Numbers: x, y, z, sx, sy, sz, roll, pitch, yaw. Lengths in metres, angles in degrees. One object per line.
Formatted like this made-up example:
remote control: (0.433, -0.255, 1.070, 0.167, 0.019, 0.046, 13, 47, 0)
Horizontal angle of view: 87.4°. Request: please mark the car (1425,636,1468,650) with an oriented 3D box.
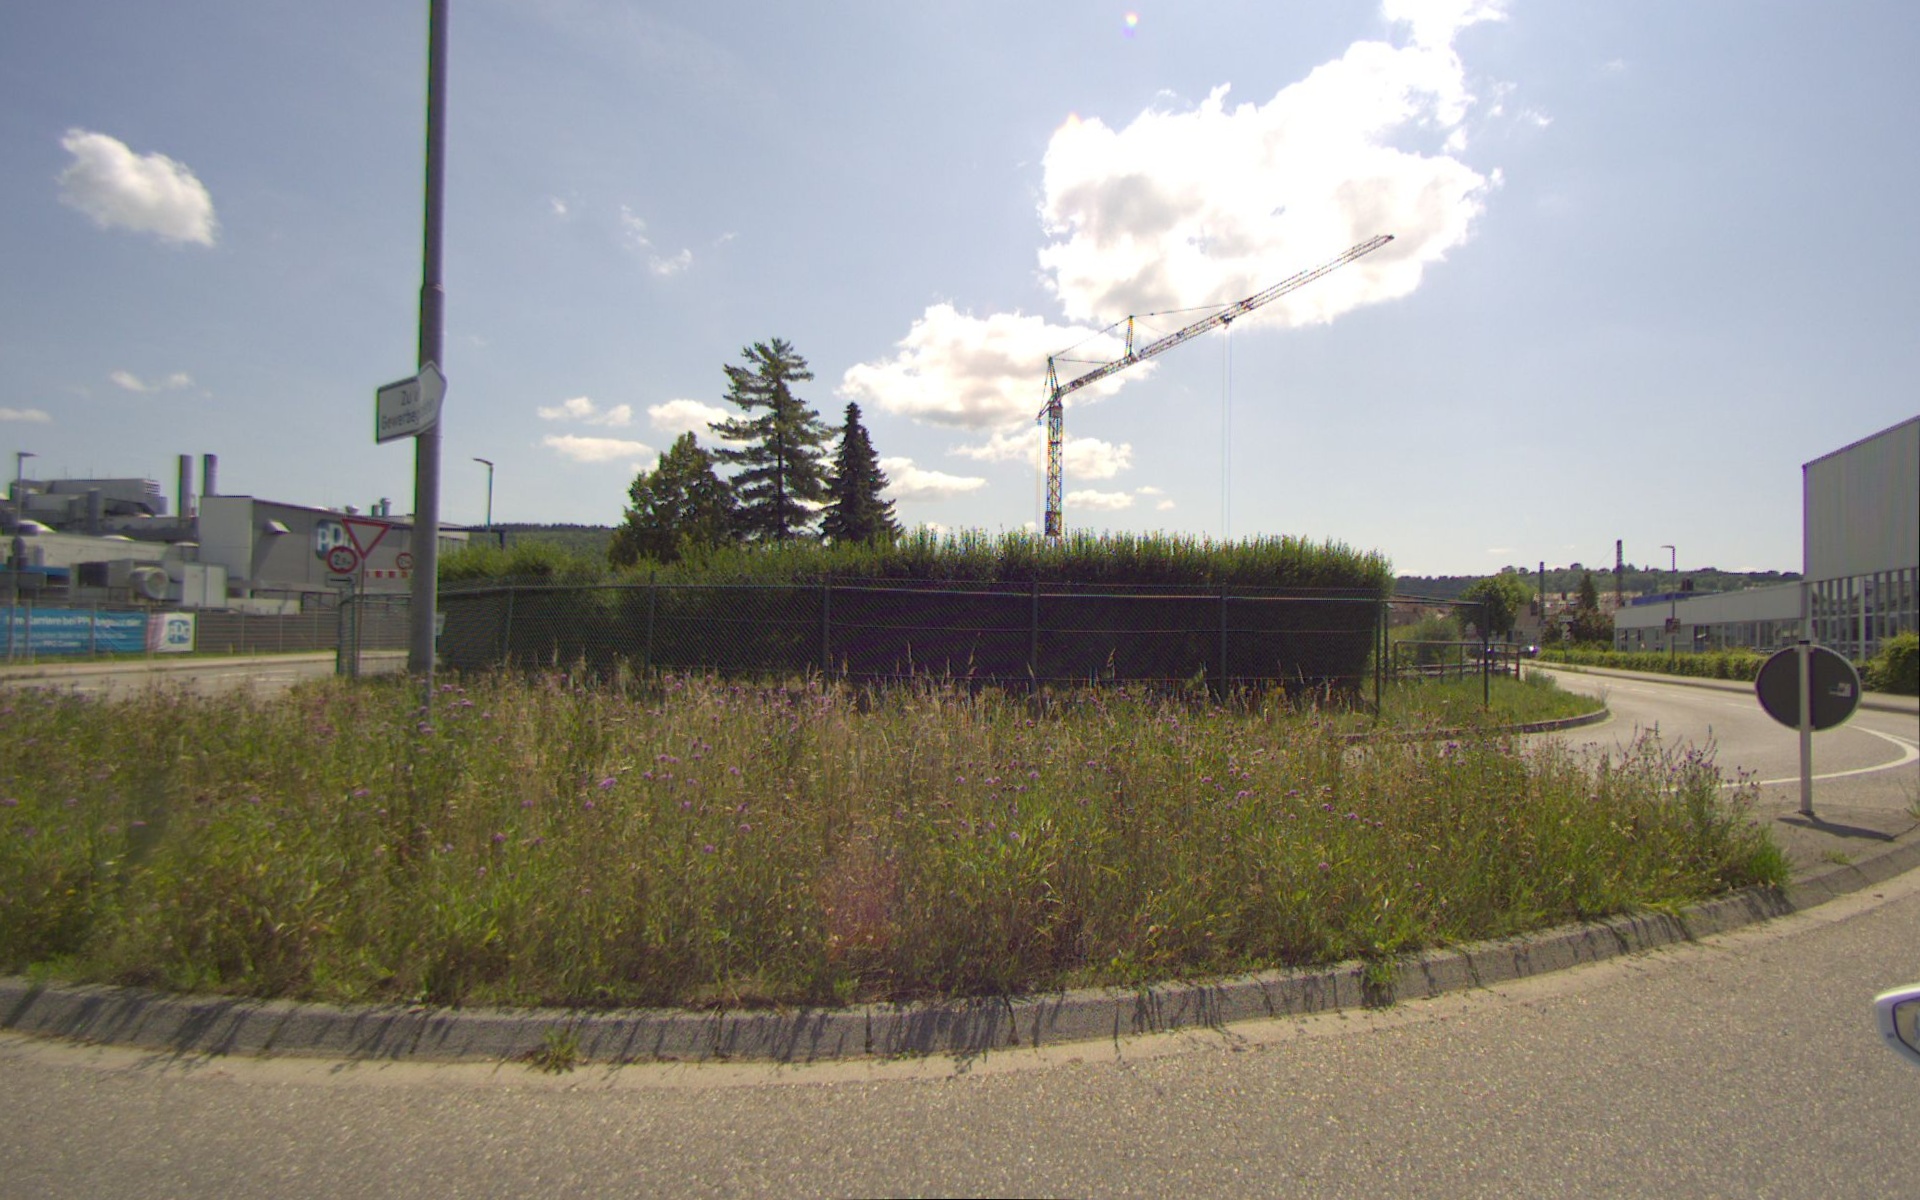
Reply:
car: (55.526, 4.894, 114.660, 4.116, 1.482, 1.666, 2, -2, 14)
